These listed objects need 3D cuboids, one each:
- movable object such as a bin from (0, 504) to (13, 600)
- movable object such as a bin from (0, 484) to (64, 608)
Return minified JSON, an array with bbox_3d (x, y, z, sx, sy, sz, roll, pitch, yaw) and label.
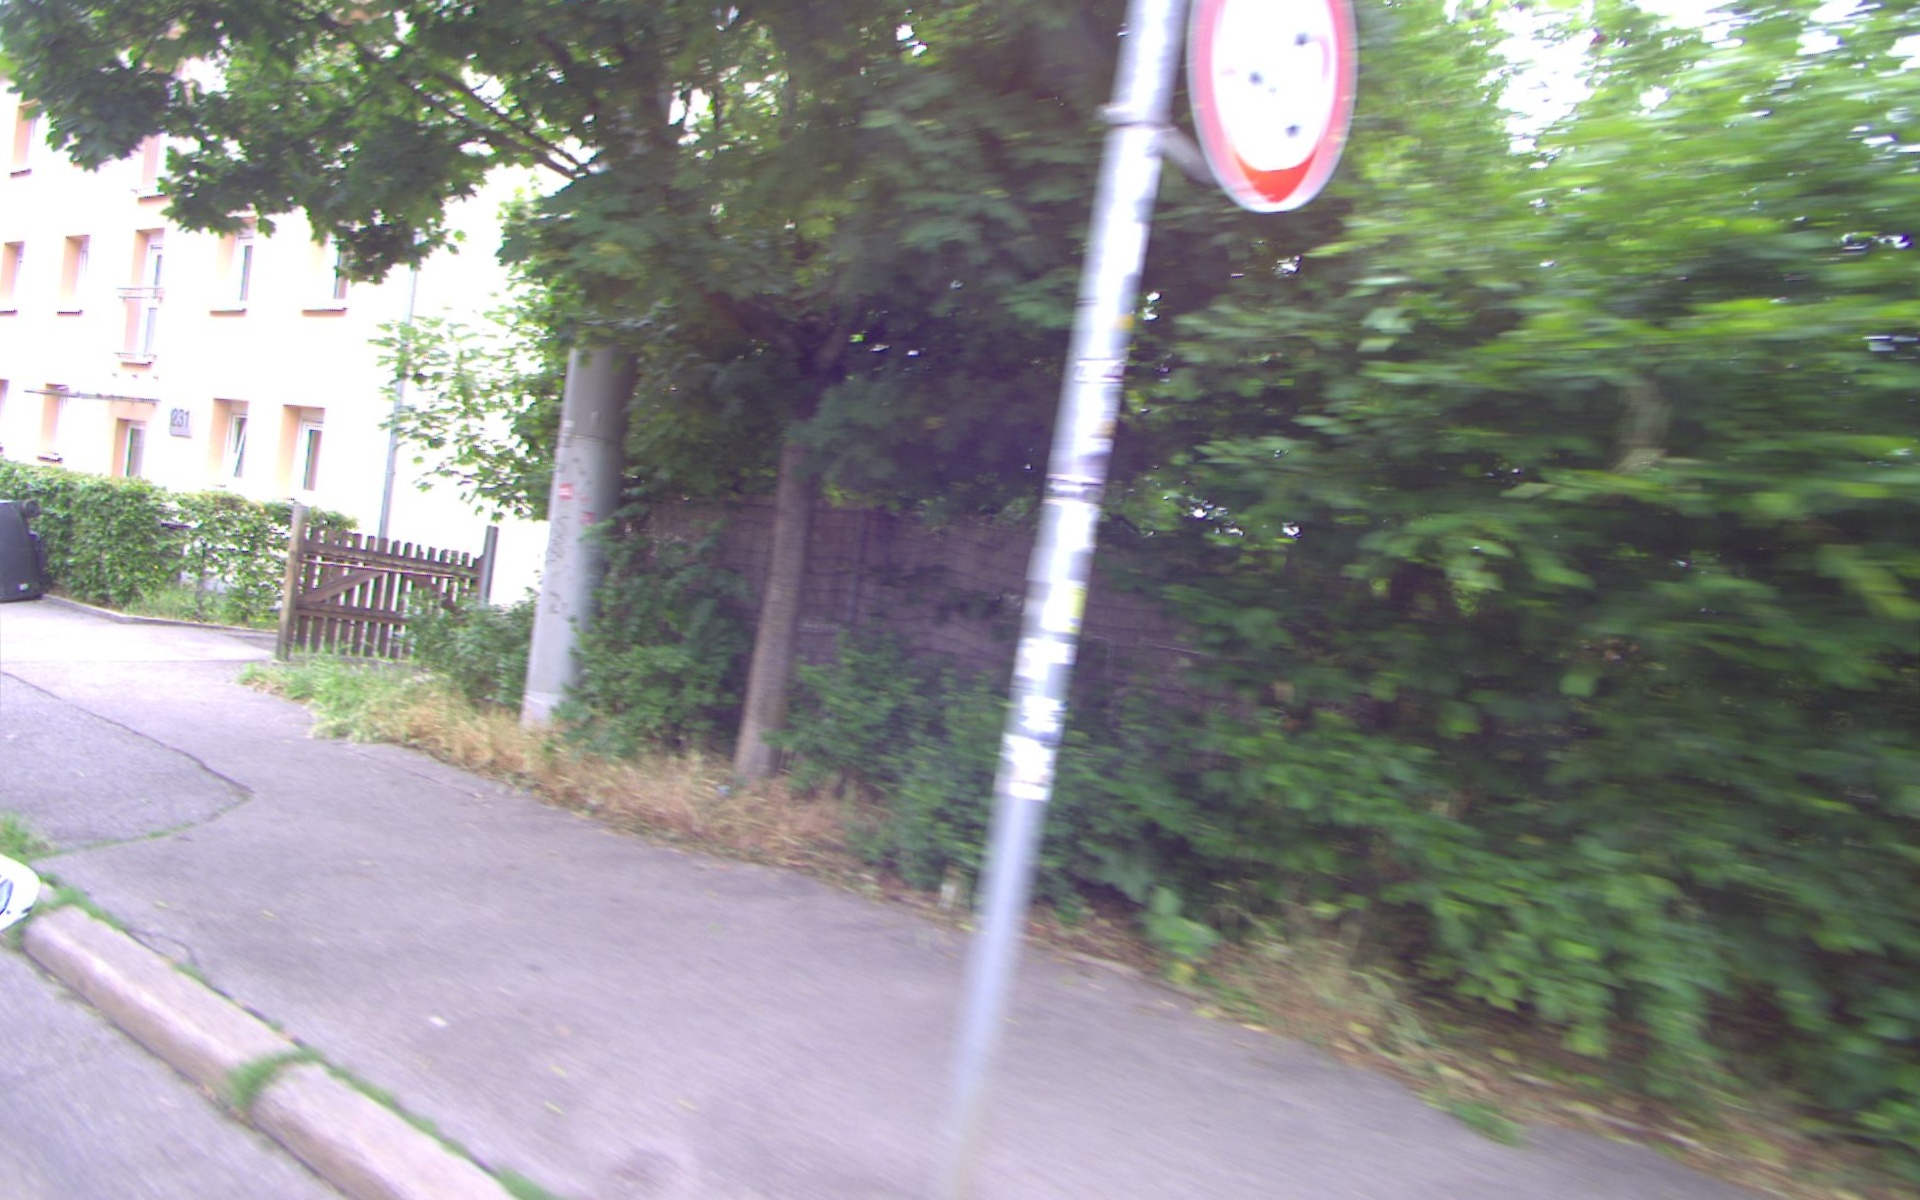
[{"bbox_3d":[-10.843,-0.571,10.743,0.775,1.025,0.793,7,1,27],"label":"movable object such as a bin"},{"bbox_3d":[-10.072,-0.592,10.487,0.775,1.234,0.793,7,1,27],"label":"movable object such as a bin"}]
